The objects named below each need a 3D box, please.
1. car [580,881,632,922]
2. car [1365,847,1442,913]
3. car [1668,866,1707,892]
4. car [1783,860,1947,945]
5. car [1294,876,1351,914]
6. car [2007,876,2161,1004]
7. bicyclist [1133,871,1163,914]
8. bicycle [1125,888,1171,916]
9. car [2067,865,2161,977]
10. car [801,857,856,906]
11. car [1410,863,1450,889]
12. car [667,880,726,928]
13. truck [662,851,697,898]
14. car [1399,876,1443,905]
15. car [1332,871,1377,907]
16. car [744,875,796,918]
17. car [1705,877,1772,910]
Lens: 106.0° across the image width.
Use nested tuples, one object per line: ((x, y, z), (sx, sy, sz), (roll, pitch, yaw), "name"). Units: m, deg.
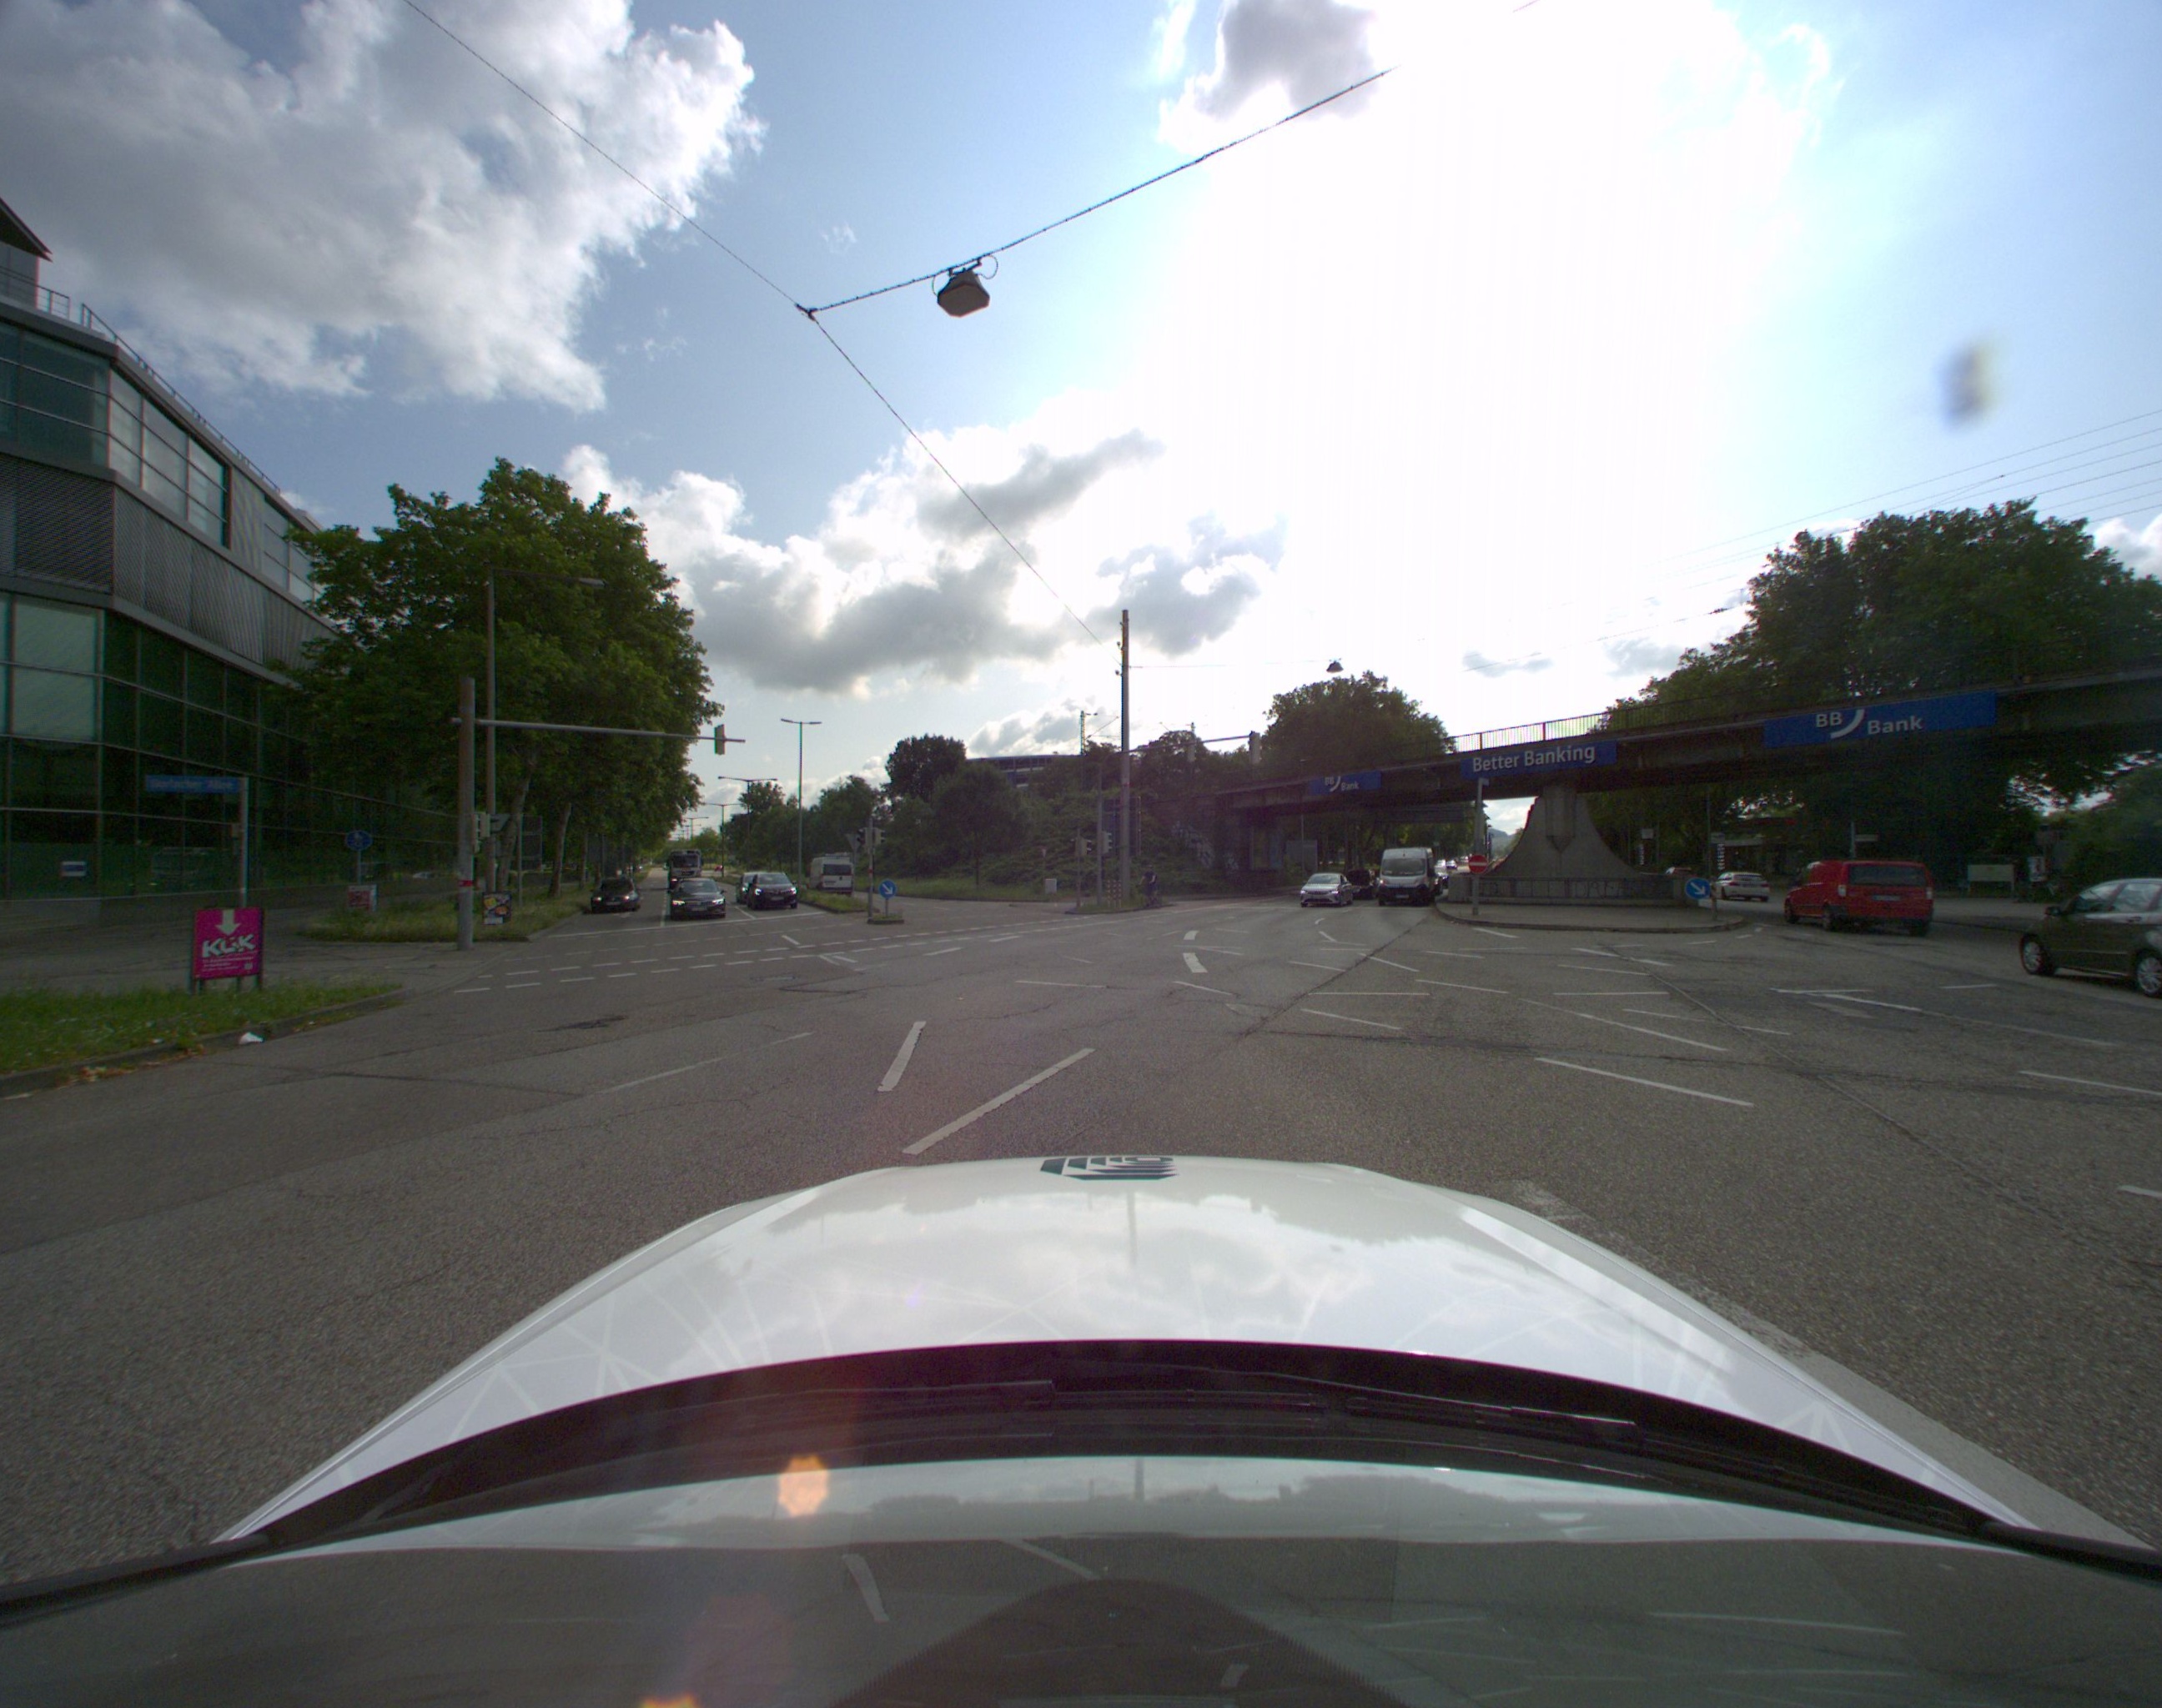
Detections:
((-21.014, 2.044, 36.112), (1.738, 1.572, 3.965), (0, 0, -27), "car")
((14.339, 1.065, 35.960), (2.236, 2.526, 5.661), (-6, -2, 28), "car")
((41.505, 1.712, 55.811), (1.758, 1.558, 4.025), (-3, -1, 32), "car")
((21.113, 1.200, 22.194), (1.937, 2.017, 4.704), (-1, 0, 27), "car")
((10.554, 1.747, 35.376), (1.686, 1.477, 4.023), (-2, -1, 26), "car")
((15.132, 1.165, 11.265), (1.775, 1.608, 3.821), (2, -1, 28), "car")
((2.798, 1.604, 34.051), (0.834, 1.678, 0.829), (-6, -2, 35), "bicyclist")
((2.823, 1.982, 34.048), (0.834, 1.093, 2.333), (-1, -1, 35), "bicycle")
((19.761, 1.165, 13.962), (1.976, 1.901, 4.536), (-1, -1, 27), "car")
((-15.776, 1.633, 50.657), (2.211, 2.726, 4.885), (-3, 1, -29), "car")
((24.889, 1.550, 58.018), (1.974, 1.607, 4.025), (-4, -1, 31), "car")
((-14.516, 1.817, 30.782), (1.874, 1.574, 4.529), (1, -1, -26), "car")
((-36.175, 1.716, 73.358), (2.664, 3.887, 10.072), (0, 1, -27), "truck")
((19.291, 2.041, 46.120), (1.657, 1.348, 4.025), (-4, -1, 31), "car")
((14.322, 1.781, 42.504), (1.749, 1.583, 4.690), (-3, -1, 23), "car")
((-13.786, 1.827, 35.938), (1.717, 1.587, 4.324), (-3, 1, -26), "car")
((33.594, 2.001, 41.722), (1.962, 1.552, 4.024), (0, -1, 28), "car")
